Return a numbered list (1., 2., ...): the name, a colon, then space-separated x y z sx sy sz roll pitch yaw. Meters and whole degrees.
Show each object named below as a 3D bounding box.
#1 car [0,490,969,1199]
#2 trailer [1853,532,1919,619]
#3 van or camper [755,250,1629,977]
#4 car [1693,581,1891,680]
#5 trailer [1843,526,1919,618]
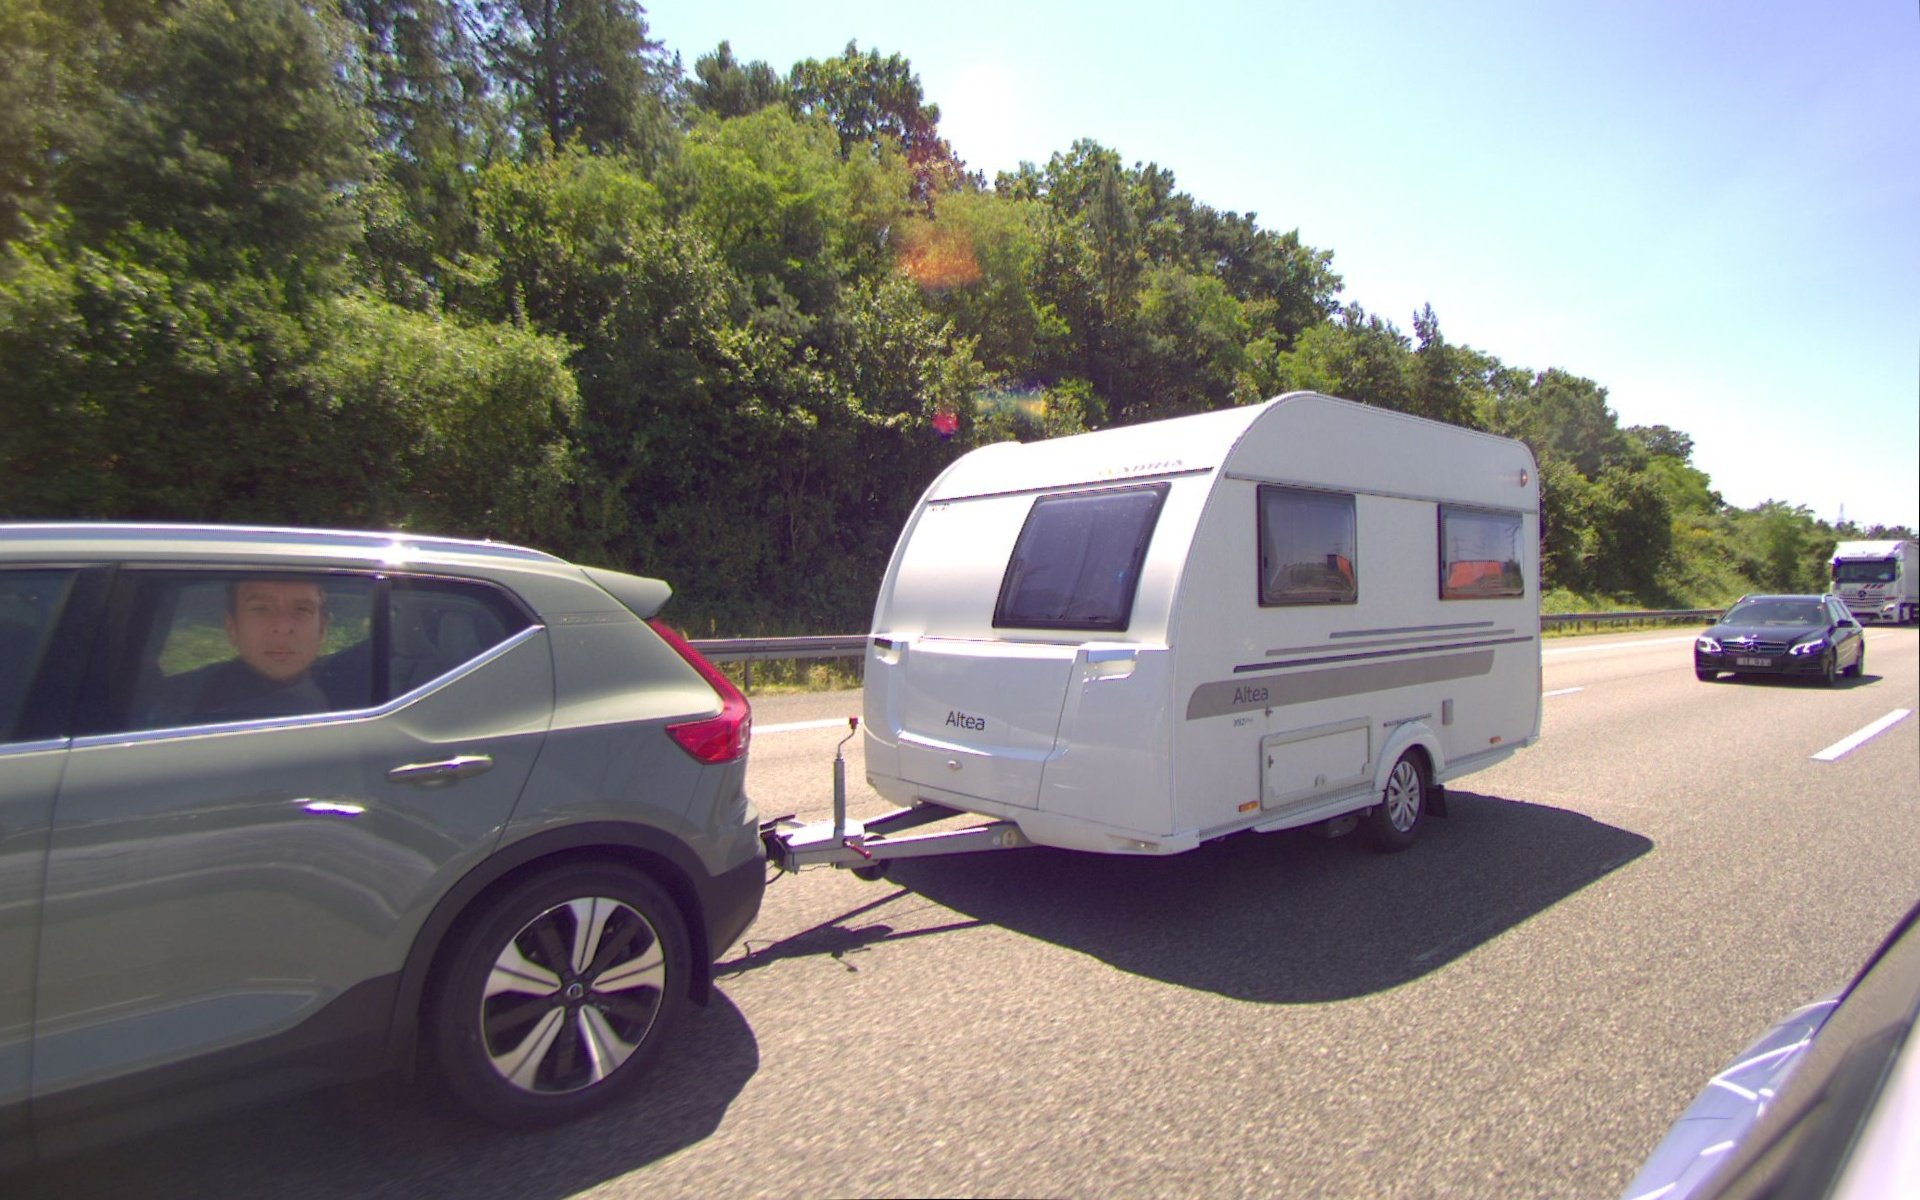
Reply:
1. car: -2.331 0.590 2.850 4.618 1.632 1.883 -1 1 -40
2. trailer: 49.804 -1.228 53.290 12.964 4.154 2.732 0 1 -42
3. van or camper: 2.013 0.021 6.741 6.238 2.708 2.444 0 1 -41
4. car: 14.732 0.494 17.827 4.653 1.525 1.845 0 -1 -40
5. trailer: 44.931 -1.295 48.846 6.673 4.154 2.717 0 1 -42
